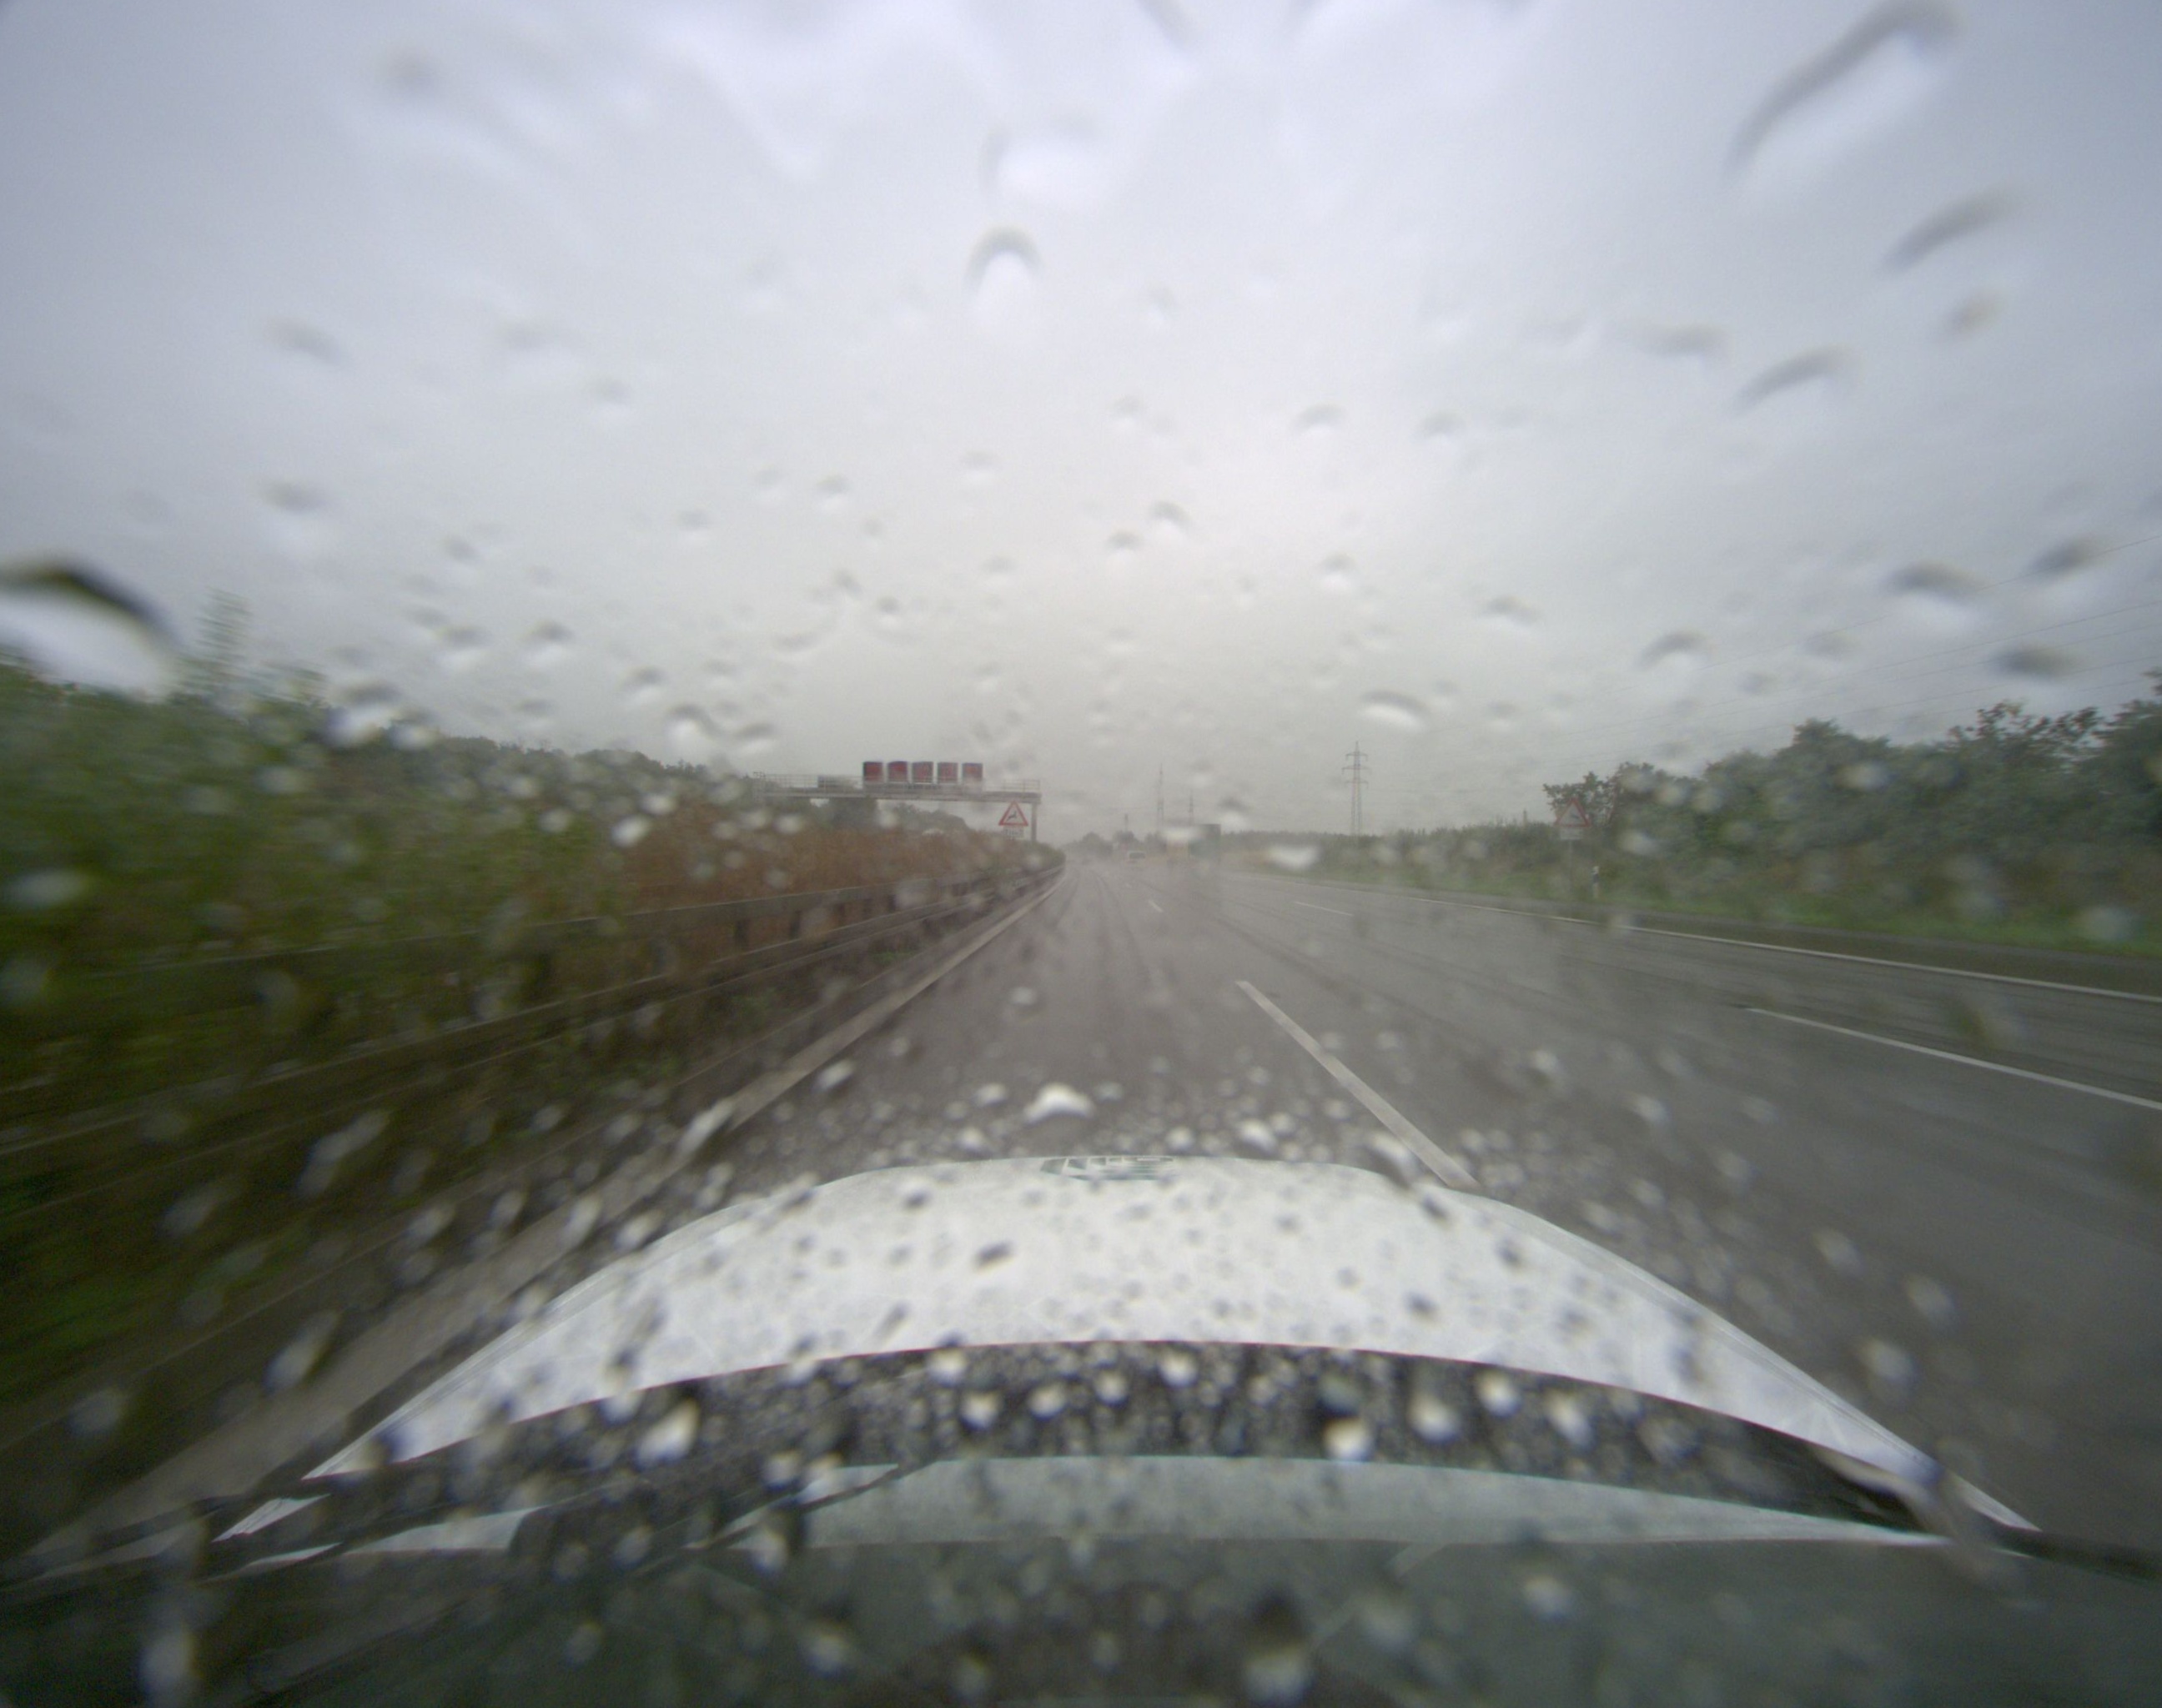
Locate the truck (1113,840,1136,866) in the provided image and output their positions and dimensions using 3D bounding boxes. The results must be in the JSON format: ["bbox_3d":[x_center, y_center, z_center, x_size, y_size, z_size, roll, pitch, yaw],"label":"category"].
[{"bbox_3d":[7.408,-0.137,139.946,3.224,4.311,8.831,-1,0,-2],"label":"truck"}]

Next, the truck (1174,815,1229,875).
[{"bbox_3d":[10.220,-0.643,70.694,4.167,4.630,16.134,-1,0,7],"label":"truck"}]

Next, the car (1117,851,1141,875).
[{"bbox_3d":[4.284,0.795,72.331,1.984,2.013,4.005,-1,0,4],"label":"car"}]
